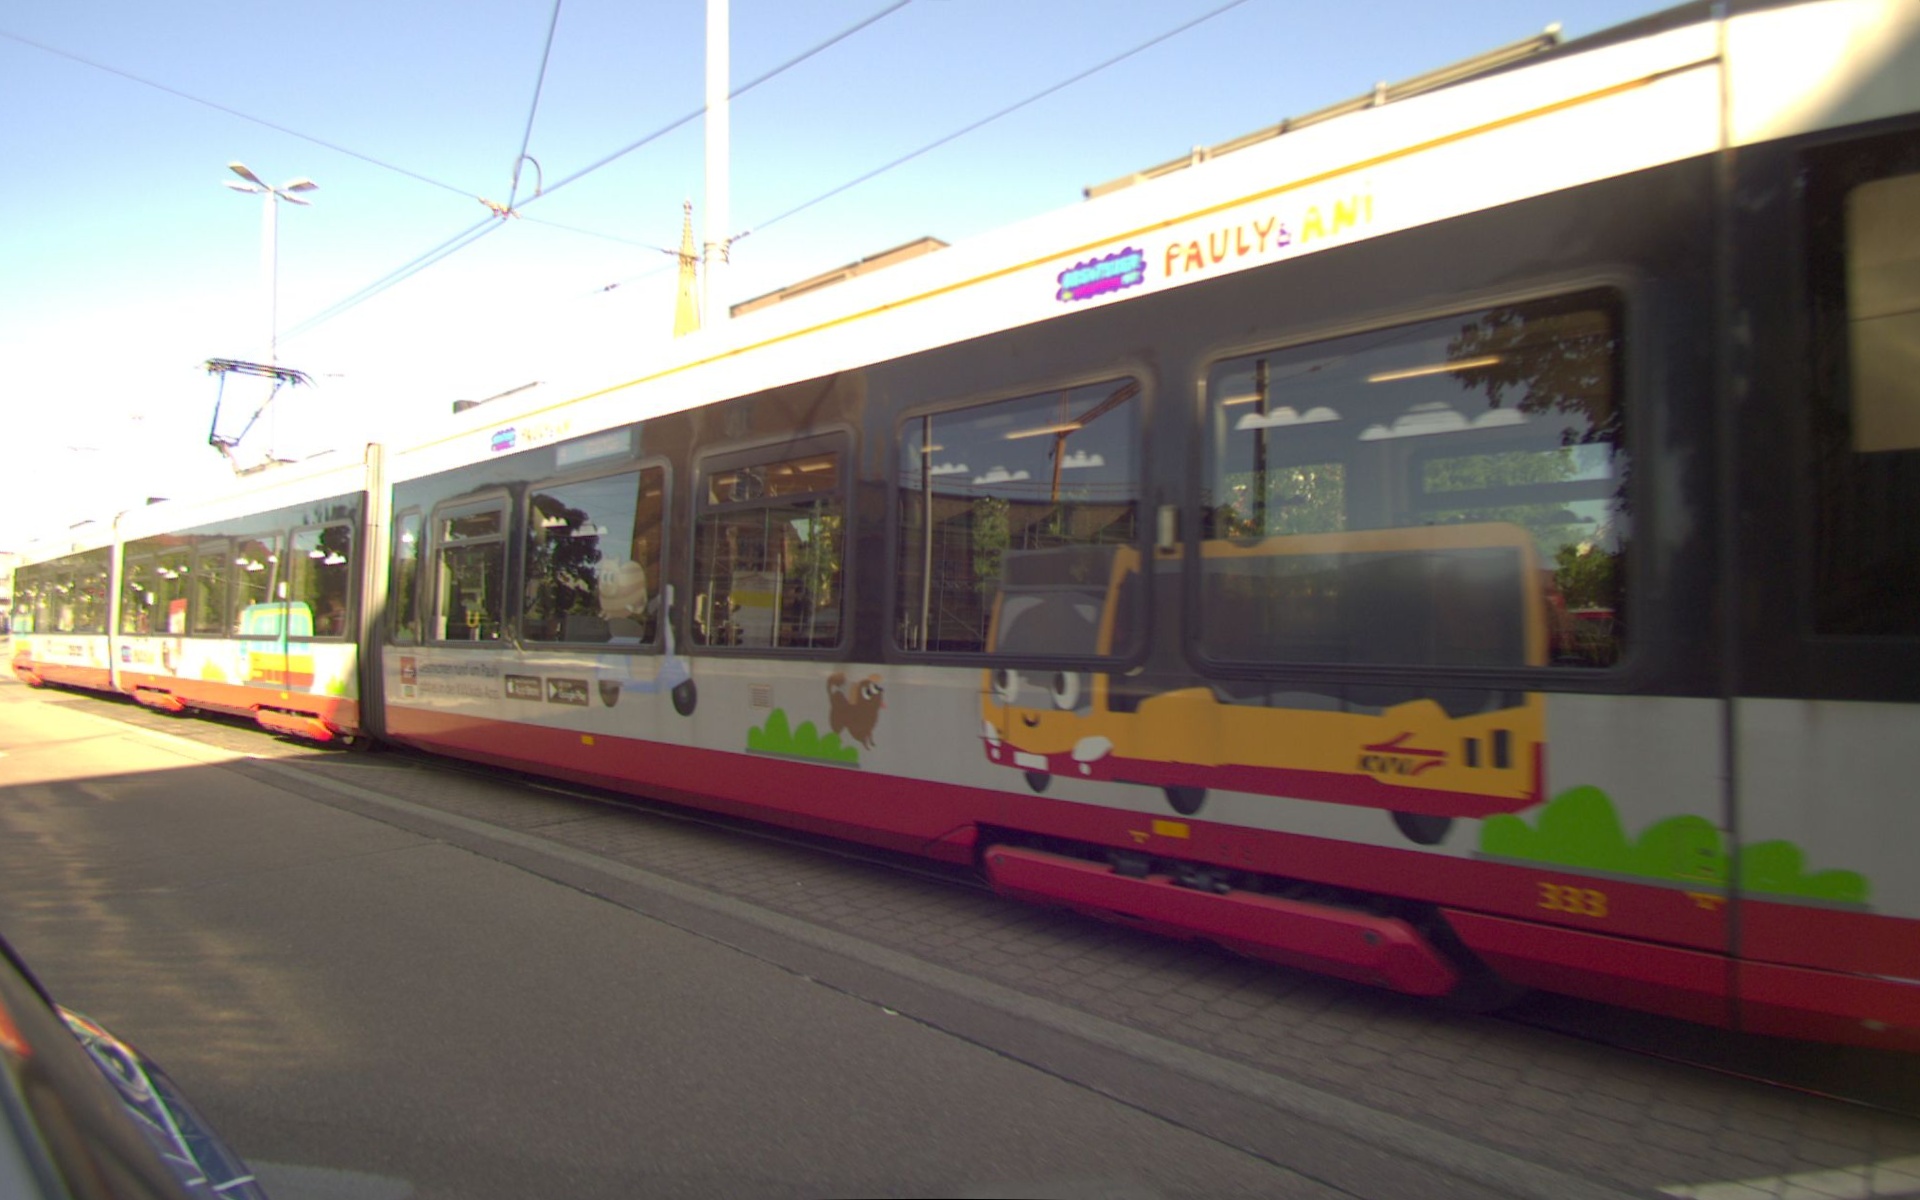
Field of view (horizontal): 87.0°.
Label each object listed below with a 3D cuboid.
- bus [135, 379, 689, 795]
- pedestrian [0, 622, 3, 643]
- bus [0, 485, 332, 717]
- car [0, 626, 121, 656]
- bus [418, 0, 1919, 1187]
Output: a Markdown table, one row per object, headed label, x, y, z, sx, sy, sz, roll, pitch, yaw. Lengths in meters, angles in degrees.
| label | x | y | z | sx | sy | sz | roll | pitch | yaw |
| --- | --- | --- | --- | --- | --- | --- | --- | --- | --- |
| bus | -7.906 | -0.016 | 13.363 | 10.719 | 3.617 | 2.812 | -1 | -1 | 41 |
| pedestrian | -87.290 | 2.983 | 91.575 | 0.844 | 1.895 | 0.695 | -1 | 0 | -30 |
| bus | -17.230 | 0.144 | 21.176 | 13.482 | 3.617 | 2.812 | -1 | -1 | 40 |
| car | -47.264 | 2.156 | 53.169 | 4.523 | 1.469 | 1.919 | 0 | -1 | -13 |
| bus | 0.488 | -0.255 | 6.111 | 11.264 | 3.617 | 2.811 | -1 | -1 | 41 |
